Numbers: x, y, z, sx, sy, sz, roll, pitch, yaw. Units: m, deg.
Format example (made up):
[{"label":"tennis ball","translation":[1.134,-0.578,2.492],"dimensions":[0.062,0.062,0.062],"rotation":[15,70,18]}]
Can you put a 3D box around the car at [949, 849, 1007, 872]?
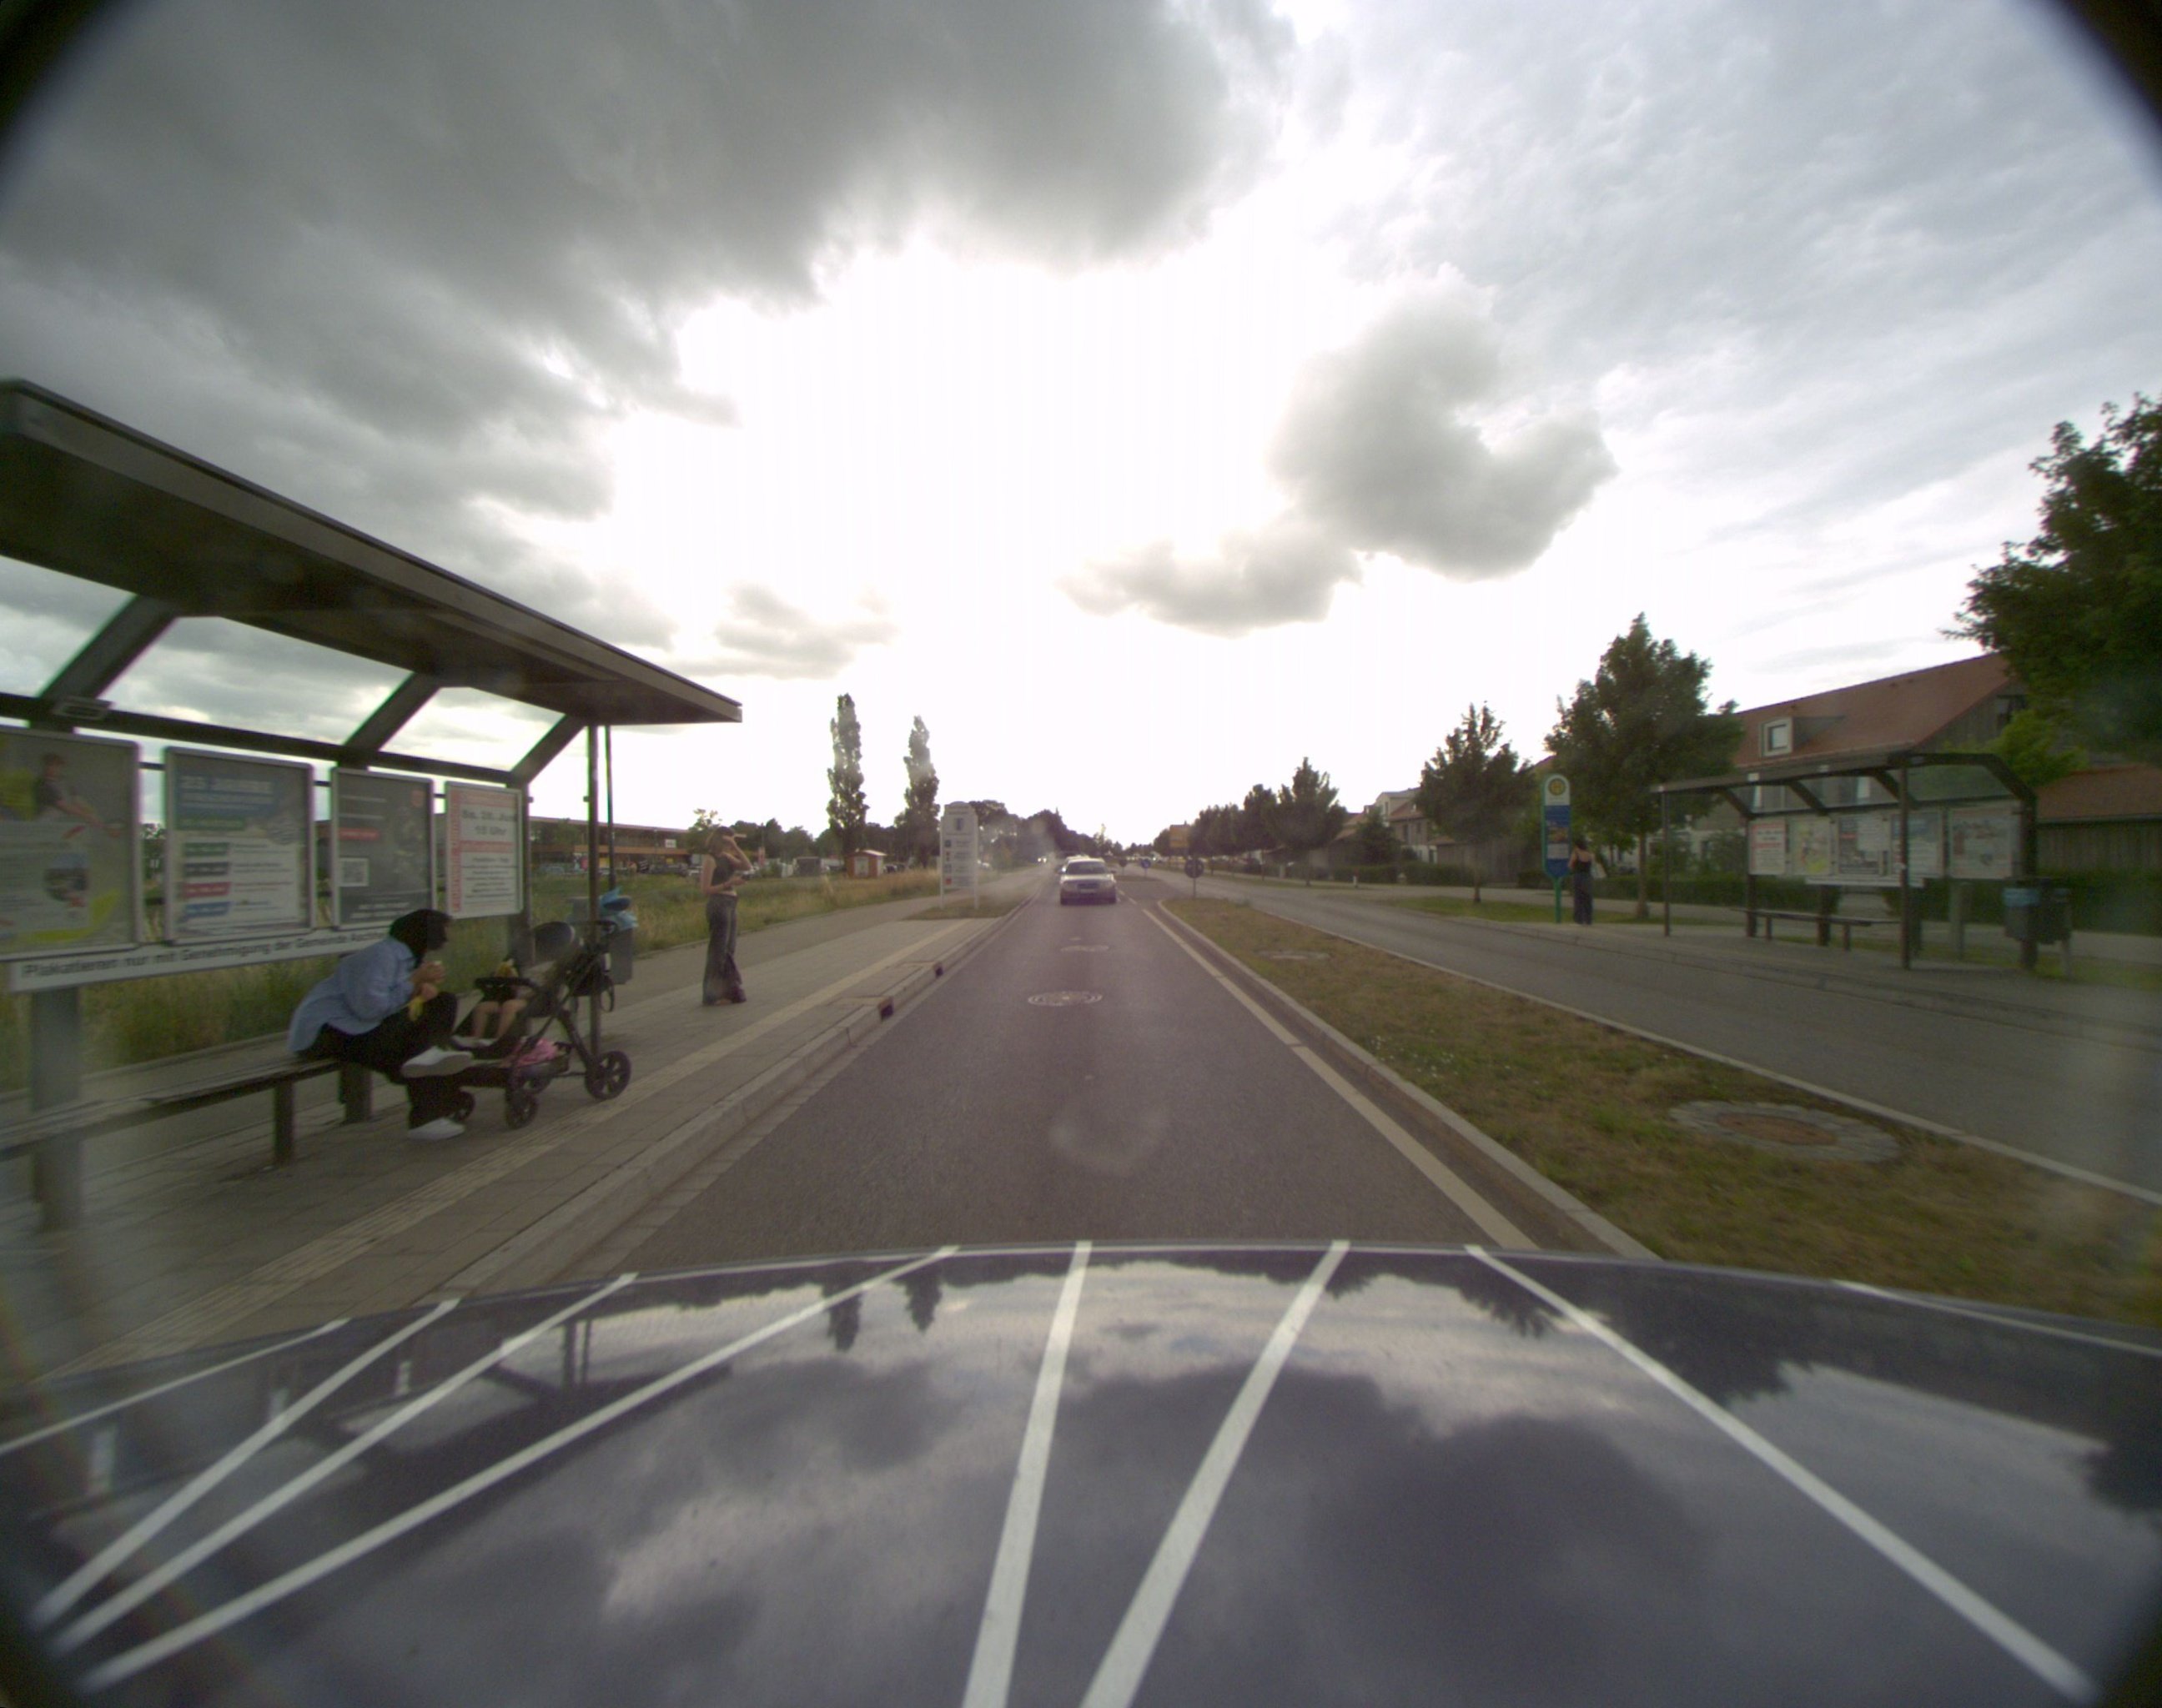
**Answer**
[{"label":"car","translation":[-10.119,0.625,74.983],"dimensions":[5.313,2.002,2.000],"rotation":[-2,1,1]}]

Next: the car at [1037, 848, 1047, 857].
[{"label":"car","translation":[-9.150,-0.281,179.273],"dimensions":[1.998,2.002,3.999],"rotation":[-2,1,1]}]

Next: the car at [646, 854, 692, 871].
[{"label":"car","translation":[-54.400,1.089,100.378],"dimensions":[4.858,2.002,1.998],"rotation":[-3,1,-8]}]

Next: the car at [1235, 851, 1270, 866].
[{"label":"car","translation":[24.846,0.620,110.165],"dimensions":[4.568,2.002,2.000],"rotation":[-2,1,5]}]

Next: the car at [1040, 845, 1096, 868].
[{"label":"car","translation":[-1.245,0.217,74.735],"dimensions":[5.313,2.002,2.562],"rotation":[-2,1,1]}]

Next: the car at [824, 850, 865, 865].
[{"label":"car","translation":[-35.585,0.510,114.355],"dimensions":[5.527,2.002,1.999],"rotation":[-3,1,-6]}]

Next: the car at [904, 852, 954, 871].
[{"label":"car","translation":[-18.027,0.840,90.362],"dimensions":[5.527,2.002,1.999],"rotation":[-3,1,-6]}]

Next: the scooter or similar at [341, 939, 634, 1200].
[{"label":"scooter or similar","translation":[-3.196,1.067,4.145],"dimensions":[0.707,1.056,1.062],"rotation":[-2,1,37]}]

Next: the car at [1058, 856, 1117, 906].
[{"label":"car","translation":[0.288,0.857,25.837],"dimensions":[1.763,1.410,4.520],"rotation":[-3,1,2]}]

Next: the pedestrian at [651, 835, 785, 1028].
[{"label":"pedestrian","translation":[-3.568,0.725,7.508],"dimensions":[0.782,1.782,0.780],"rotation":[-2,1,21]}]

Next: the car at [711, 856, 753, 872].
[{"label":"car","translation":[-47.732,1.368,104.012],"dimensions":[4.858,2.002,1.998],"rotation":[-3,1,-8]}]

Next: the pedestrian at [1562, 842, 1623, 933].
[{"label":"pedestrian","translation":[9.455,0.609,14.070],"dimensions":[0.590,1.627,0.813],"rotation":[-1,1,0]}]

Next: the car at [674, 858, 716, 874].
[{"label":"car","translation":[-54.523,1.616,107.446],"dimensions":[4.858,2.002,1.998],"rotation":[-3,1,-8]}]

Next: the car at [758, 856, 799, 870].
[{"label":"car","translation":[-47.533,1.407,119.309],"dimensions":[5.527,2.002,1.999],"rotation":[-3,1,-6]}]

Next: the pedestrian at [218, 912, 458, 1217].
[{"label":"pedestrian","translation":[-3.639,0.975,3.782],"dimensions":[0.668,1.295,0.504],"rotation":[-3,1,-27]}]

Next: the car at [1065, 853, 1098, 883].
[{"label":"car","translation":[0.010,0.762,44.172],"dimensions":[1.763,1.495,4.690],"rotation":[-3,1,0]}]
